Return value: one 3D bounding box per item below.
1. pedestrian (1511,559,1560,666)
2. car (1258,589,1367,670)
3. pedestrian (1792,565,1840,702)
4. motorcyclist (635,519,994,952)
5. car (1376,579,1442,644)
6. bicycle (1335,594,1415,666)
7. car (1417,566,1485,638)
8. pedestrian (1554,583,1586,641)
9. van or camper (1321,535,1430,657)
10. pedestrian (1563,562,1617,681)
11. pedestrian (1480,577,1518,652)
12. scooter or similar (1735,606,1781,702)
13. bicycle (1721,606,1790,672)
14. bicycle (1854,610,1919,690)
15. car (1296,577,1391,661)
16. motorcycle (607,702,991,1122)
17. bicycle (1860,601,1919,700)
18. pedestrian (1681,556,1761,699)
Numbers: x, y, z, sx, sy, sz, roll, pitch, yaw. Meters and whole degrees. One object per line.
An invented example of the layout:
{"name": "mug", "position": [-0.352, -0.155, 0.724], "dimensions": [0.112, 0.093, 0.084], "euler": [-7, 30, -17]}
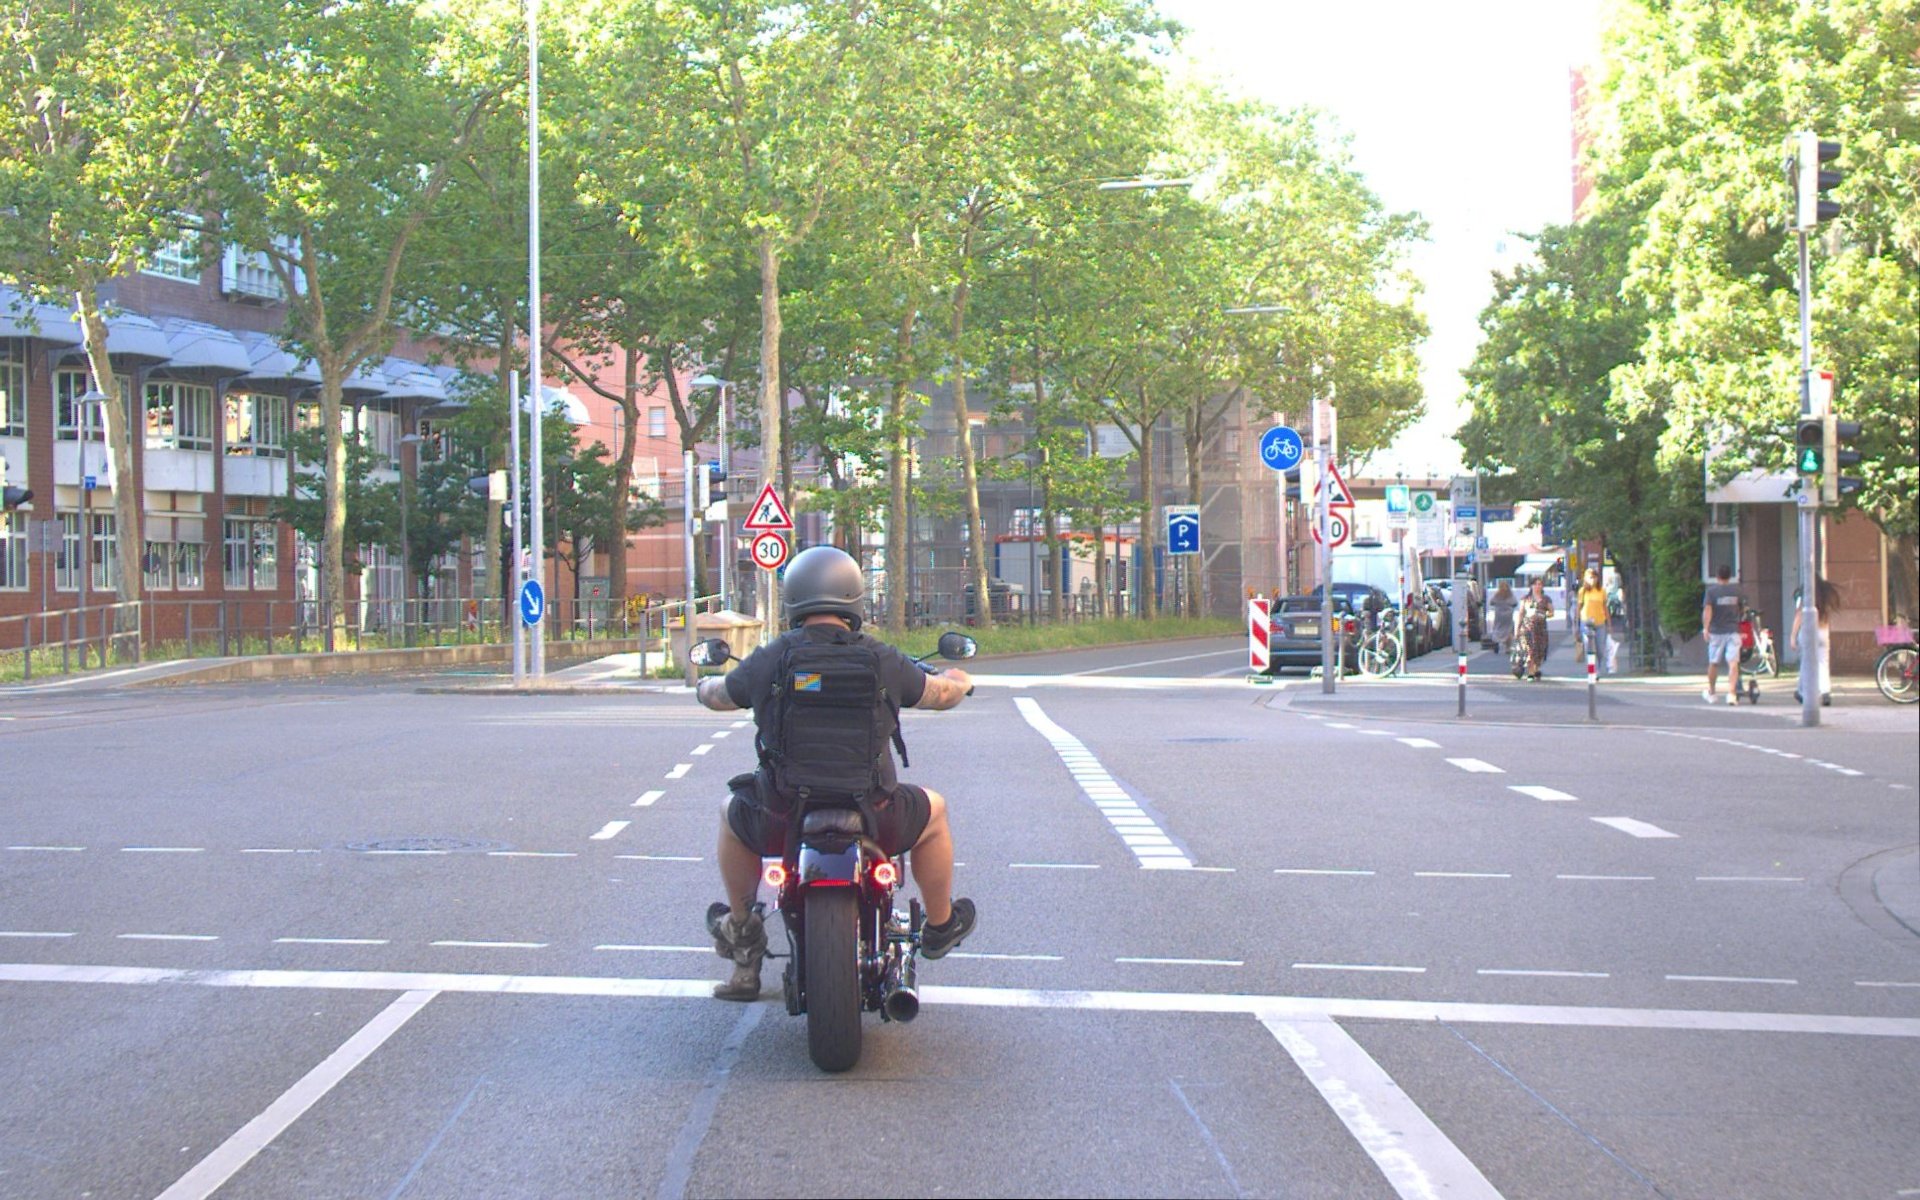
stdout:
{"name": "pedestrian", "position": [8.513, 0.181, 50.848], "dimensions": [0.644, 1.573, 0.748], "euler": [0, 0, 4]}
{"name": "car", "position": [5.992, 0.479, 58.152], "dimensions": [1.621, 1.298, 4.310], "euler": [0, 0, 9]}
{"name": "pedestrian", "position": [10.511, 0.409, 42.214], "dimensions": [0.459, 1.667, 0.680], "euler": [0, 0, 5]}
{"name": "motorcyclist", "position": [-0.434, 0.400, 10.677], "dimensions": [1.012, 1.258, 0.774], "euler": [2, 1, 2]}
{"name": "car", "position": [11.482, 0.271, 87.800], "dimensions": [1.621, 1.604, 3.773], "euler": [-1, 0, 8]}
{"name": "bicycle", "position": [6.225, 0.447, 51.619], "dimensions": [0.737, 1.049, 1.752], "euler": [0, 0, -9]}
{"name": "car", "position": [14.150, 0.048, 98.930], "dimensions": [1.836, 2.007, 4.386], "euler": [0, 0, 9]}
{"name": "pedestrian", "position": [15.420, 0.300, 86.893], "dimensions": [0.765, 1.440, 0.780], "euler": [1, 0, 9]}
{"name": "van or camper", "position": [9.091, -0.098, 74.843], "dimensions": [2.049, 2.532, 5.770], "euler": [0, 0, 10]}
{"name": "pedestrian", "position": [9.267, 0.311, 50.580], "dimensions": [0.700, 1.728, 0.767], "euler": [0, 0, 4]}
{"name": "pedestrian", "position": [11.762, 0.315, 75.068], "dimensions": [0.762, 1.639, 0.547], "euler": [0, 0, 3]}
{"name": "scooter or similar", "position": [9.915, 0.662, 42.726], "dimensions": [0.394, 1.154, 1.249], "euler": [0, 0, 6]}
{"name": "bicycle", "position": [11.743, 0.572, 50.811], "dimensions": [0.737, 0.936, 1.752], "euler": [0, 0, 4]}
{"name": "bicycle", "position": [12.828, 0.662, 45.603], "dimensions": [1.749, 1.049, 0.738], "euler": [0, 0, 28]}
{"name": "car", "position": [7.695, 0.359, 68.730], "dimensions": [1.621, 1.614, 4.483], "euler": [0, 0, 10]}
{"name": "motorcycle", "position": [-0.445, 0.905, 10.653], "dimensions": [1.018, 1.093, 2.007], "euler": [0, 1, 2]}
{"name": "bicycle", "position": [11.992, 0.621, 42.550], "dimensions": [1.567, 1.223, 0.577], "euler": [0, 0, 6]}
{"name": "pedestrian", "position": [9.442, 0.331, 42.646], "dimensions": [0.785, 1.757, 0.610], "euler": [0, 0, -11]}
